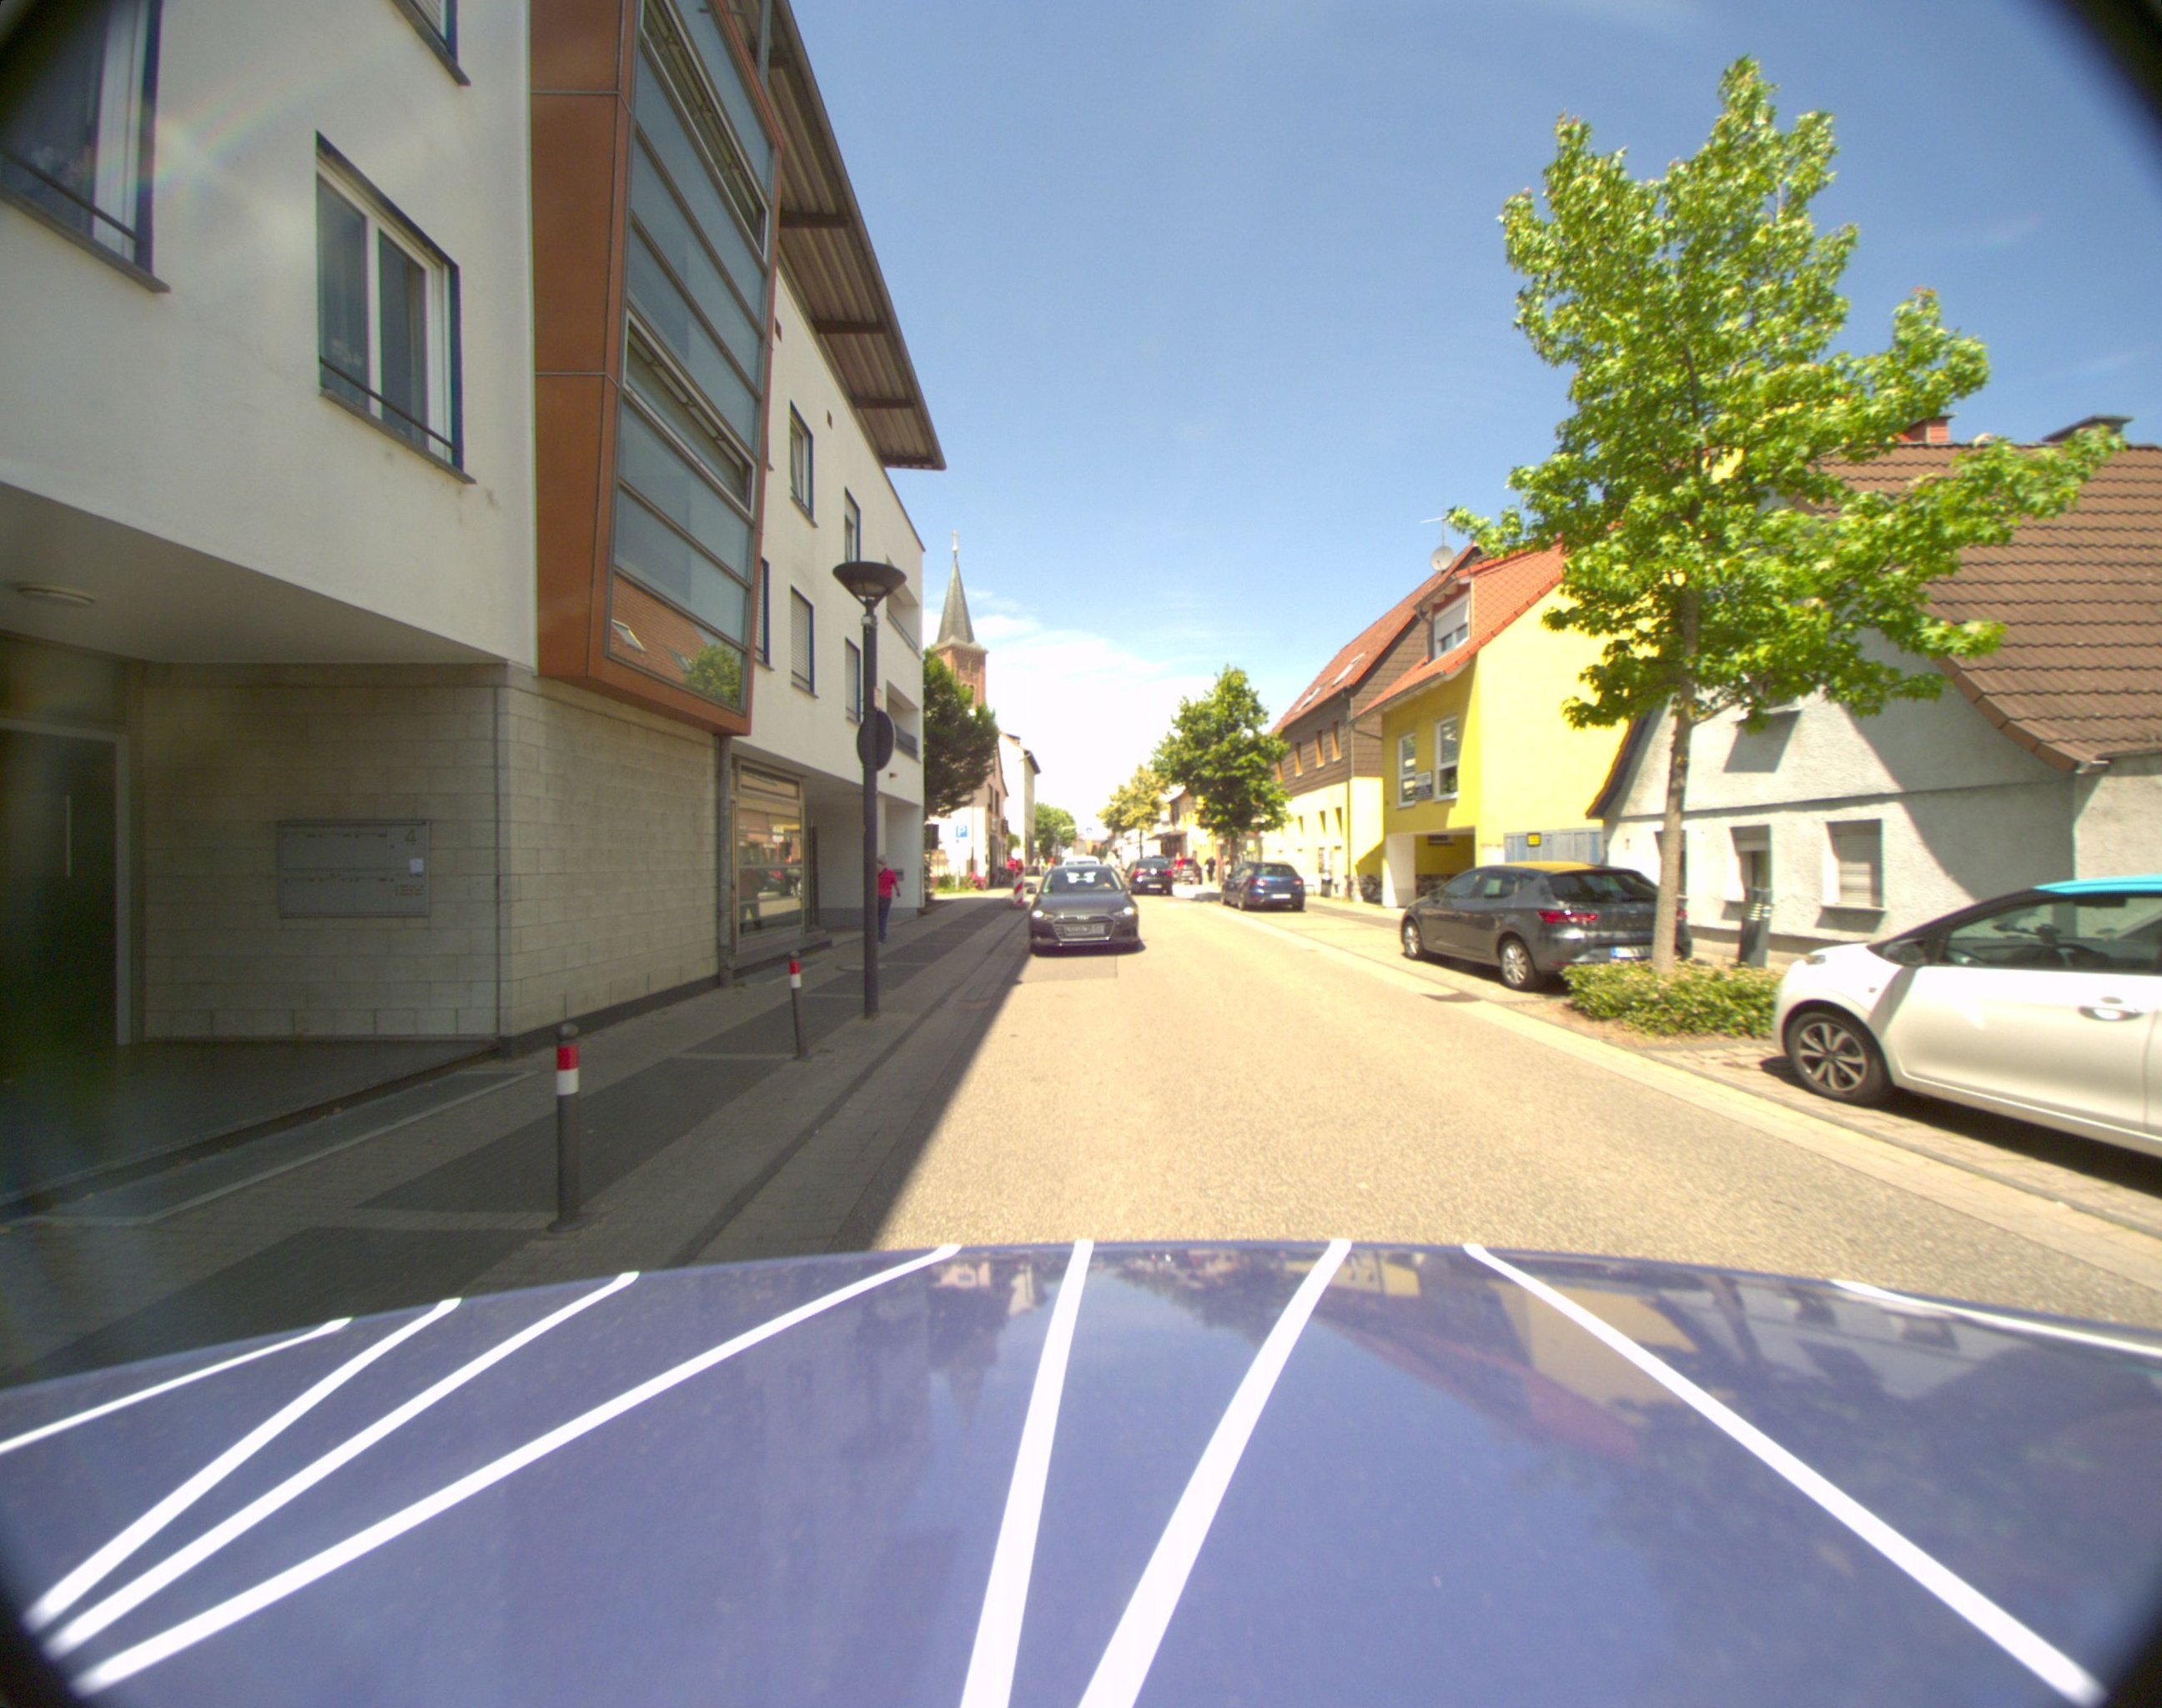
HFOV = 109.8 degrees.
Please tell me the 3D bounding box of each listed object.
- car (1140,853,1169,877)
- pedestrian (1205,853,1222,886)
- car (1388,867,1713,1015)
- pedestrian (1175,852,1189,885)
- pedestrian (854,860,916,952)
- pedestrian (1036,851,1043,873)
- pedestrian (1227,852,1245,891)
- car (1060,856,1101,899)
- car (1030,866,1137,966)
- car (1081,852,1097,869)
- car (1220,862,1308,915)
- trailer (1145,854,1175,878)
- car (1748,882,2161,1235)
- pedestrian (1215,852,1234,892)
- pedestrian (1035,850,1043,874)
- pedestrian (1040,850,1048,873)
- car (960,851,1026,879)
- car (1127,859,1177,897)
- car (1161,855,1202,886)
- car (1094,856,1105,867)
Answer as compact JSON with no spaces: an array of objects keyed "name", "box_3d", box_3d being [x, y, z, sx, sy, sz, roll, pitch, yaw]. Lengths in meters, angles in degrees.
[{"name":"car","box_3d":[5.670,0.815,58.945,1.695,1.742,3.999,-3,0,-1]},{"name":"pedestrian","box_3d":[6.423,0.738,36.817,0.663,1.592,0.771,0,0,1]},{"name":"car","box_3d":[5.619,0.927,9.797,1.649,1.422,4.098,1,0,0]},{"name":"pedestrian","box_3d":[5.102,0.709,38.335,0.643,1.645,0.624,0,0,0]},{"name":"pedestrian","box_3d":[-3.550,0.916,13.849,0.825,1.579,0.919,2,0,1]},{"name":"pedestrian","box_3d":[-3.468,0.647,63.727,0.581,1.875,0.695,0,0,2]},{"name":"pedestrian","box_3d":[6.387,0.726,31.401,0.631,1.592,0.528,0,0,1]},{"name":"car","box_3d":[-0.015,0.905,31.188,1.581,1.620,4.065,0,0,0]},{"name":"car","box_3d":[0.038,0.981,13.720,1.581,1.424,4.065,-2,0,0]},{"name":"car","box_3d":[0.781,0.618,75.393,1.581,1.620,4.065,0,0,0]},{"name":"car","box_3d":[5.354,0.962,22.737,1.660,1.399,4.158,-1,0,0]},{"name":"trailer","box_3d":[5.642,0.874,54.694,1.493,1.571,3.883,-3,0,-2]},{"name":"car","box_3d":[5.370,0.907,3.533,1.557,1.422,3.410,0,0,0]},{"name":"pedestrian","box_3d":[5.800,0.715,30.736,0.631,1.592,0.528,0,0,1]},{"name":"pedestrian","box_3d":[-3.341,0.657,61.142,0.581,1.875,0.695,0,0,2]},{"name":"pedestrian","box_3d":[-3.009,0.625,62.499,0.581,1.875,0.695,0,0,2]},{"name":"car","box_3d":[-5.884,0.706,51.184,4.204,1.849,2.000,0,0,0]},{"name":"car","box_3d":[2.909,0.950,31.929,1.693,1.464,4.000,1,0,0]},{"name":"car","box_3d":[5.502,0.874,42.077,1.753,1.566,4.158,-1,0,0]},{"name":"car","box_3d":[3.301,1.327,137.860,1.695,1.761,3.999,-4,0,-1]}]
